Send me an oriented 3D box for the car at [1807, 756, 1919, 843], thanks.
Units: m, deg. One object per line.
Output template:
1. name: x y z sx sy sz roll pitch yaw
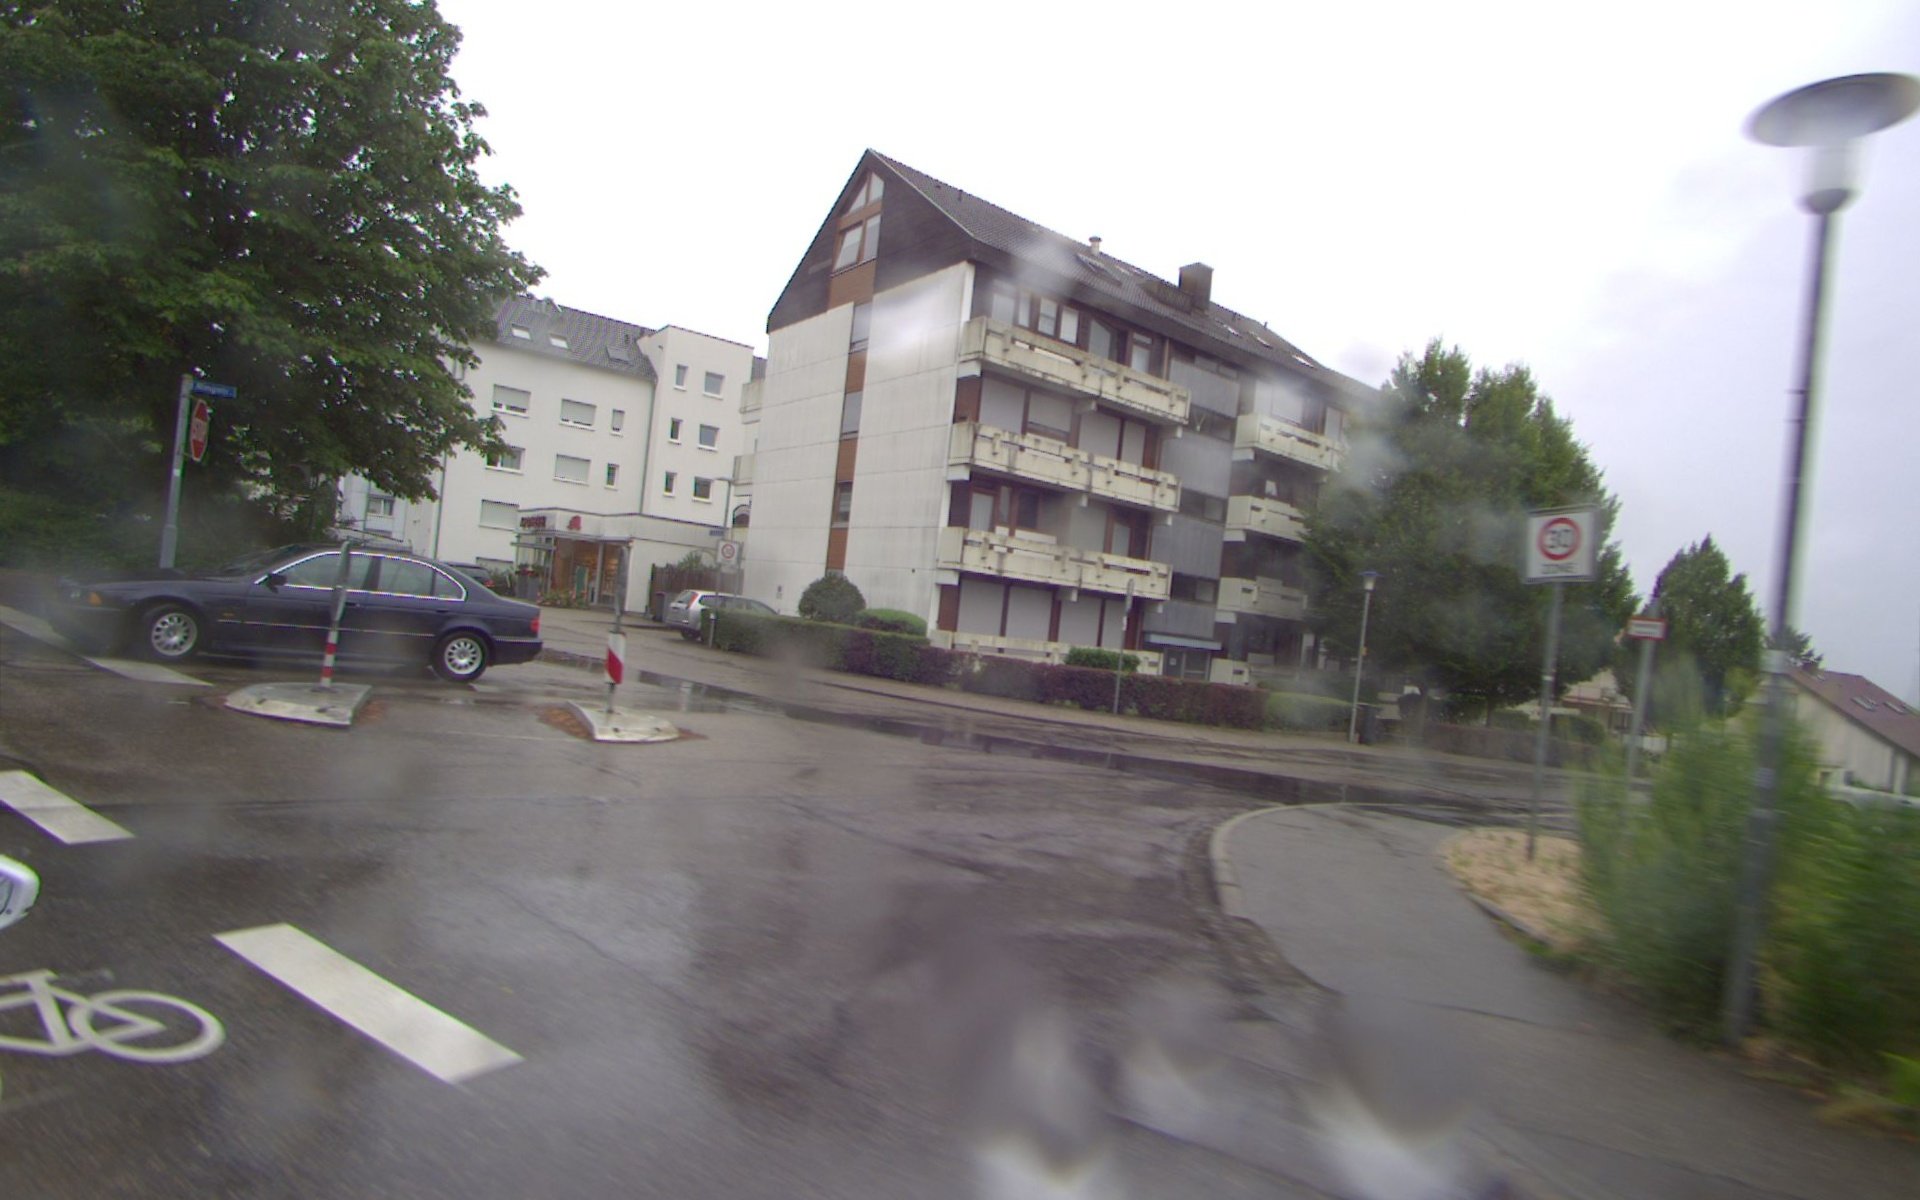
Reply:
1. car: 19.503 4.118 20.053 1.707 1.457 3.672 8 -4 -37

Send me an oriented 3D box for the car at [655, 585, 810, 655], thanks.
1. car: -6.705 0.615 29.881 3.972 1.479 1.842 8 0 -40

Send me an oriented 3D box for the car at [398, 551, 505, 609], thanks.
1. car: -17.378 -0.682 34.350 3.555 1.455 1.689 8 0 35

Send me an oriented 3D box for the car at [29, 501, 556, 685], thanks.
1. car: -7.332 0.019 11.461 1.920 1.403 4.595 7 -2 42
